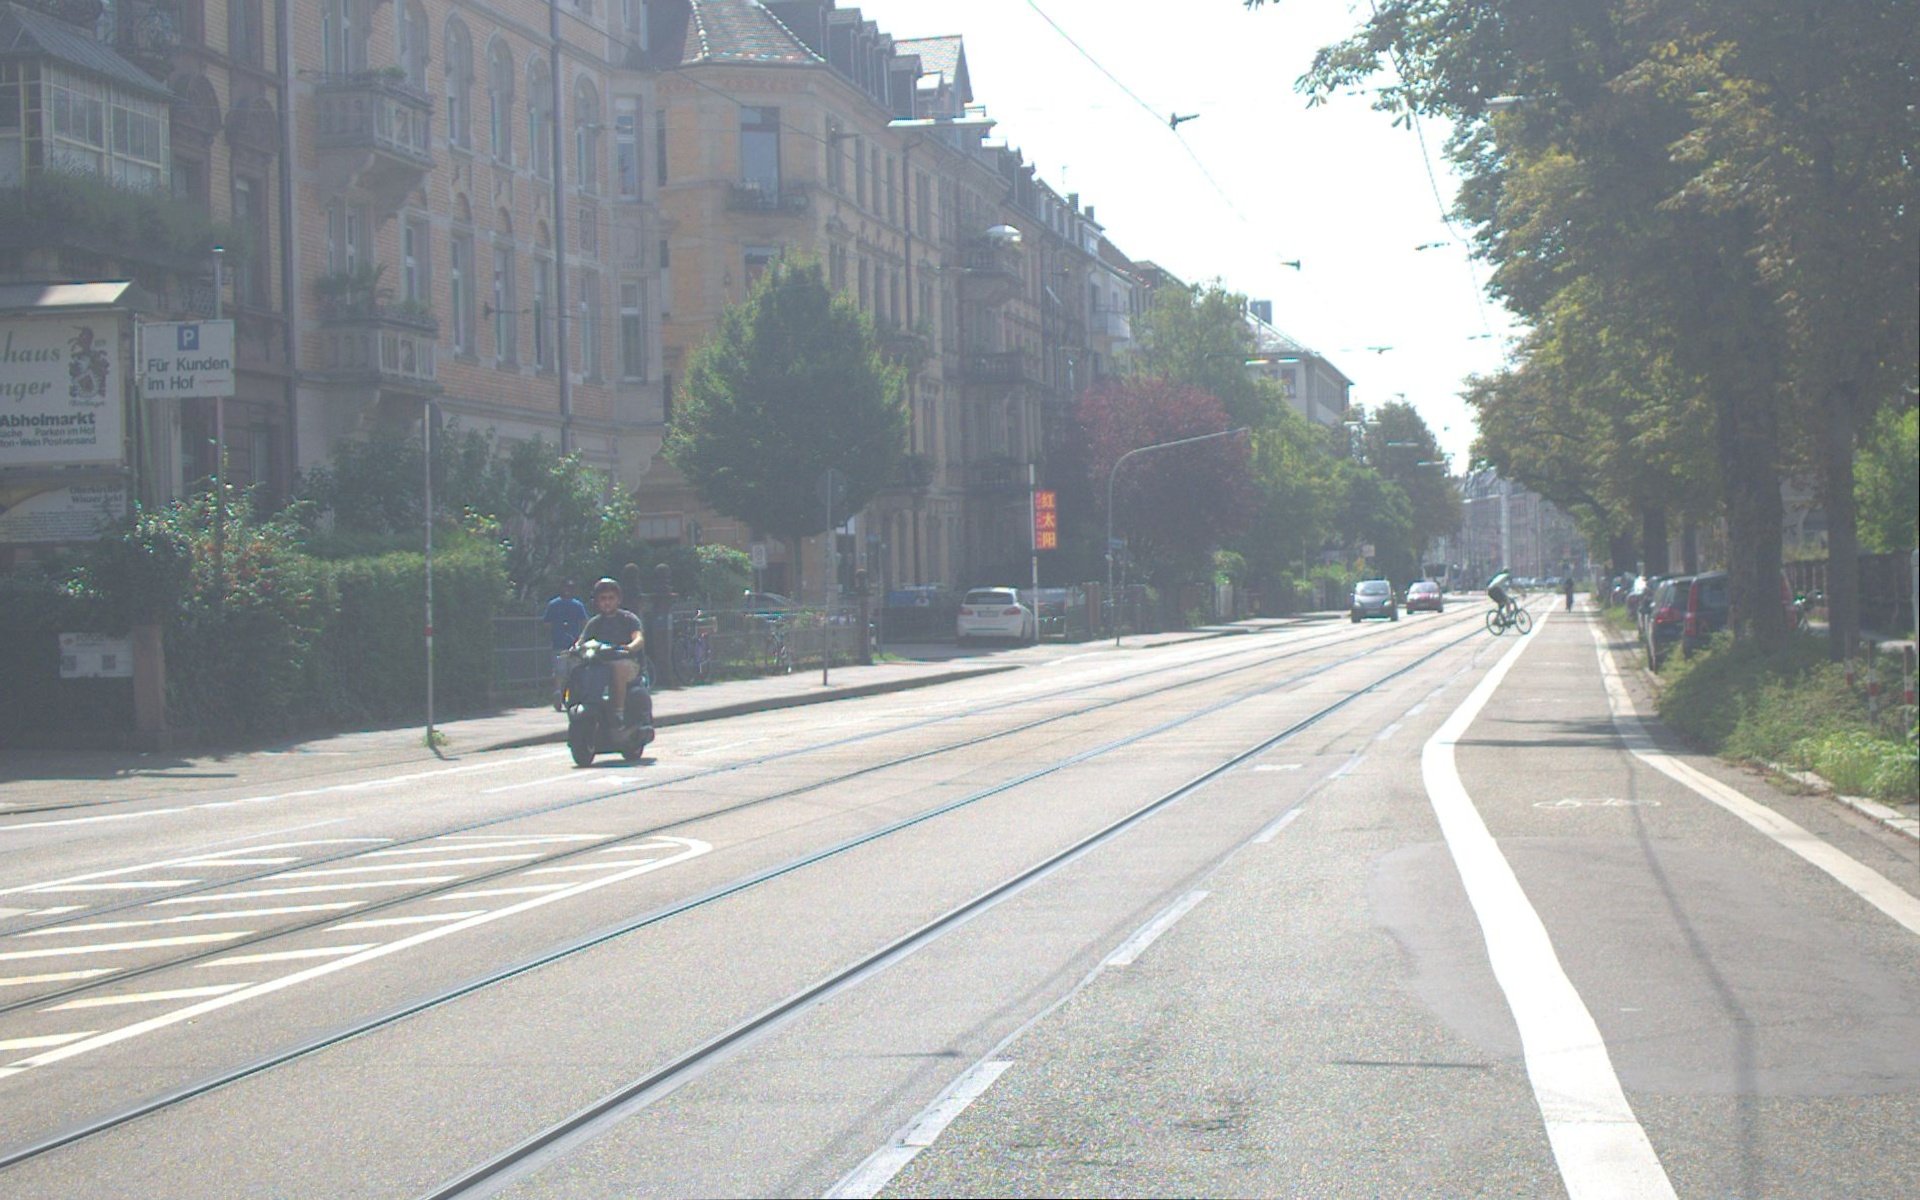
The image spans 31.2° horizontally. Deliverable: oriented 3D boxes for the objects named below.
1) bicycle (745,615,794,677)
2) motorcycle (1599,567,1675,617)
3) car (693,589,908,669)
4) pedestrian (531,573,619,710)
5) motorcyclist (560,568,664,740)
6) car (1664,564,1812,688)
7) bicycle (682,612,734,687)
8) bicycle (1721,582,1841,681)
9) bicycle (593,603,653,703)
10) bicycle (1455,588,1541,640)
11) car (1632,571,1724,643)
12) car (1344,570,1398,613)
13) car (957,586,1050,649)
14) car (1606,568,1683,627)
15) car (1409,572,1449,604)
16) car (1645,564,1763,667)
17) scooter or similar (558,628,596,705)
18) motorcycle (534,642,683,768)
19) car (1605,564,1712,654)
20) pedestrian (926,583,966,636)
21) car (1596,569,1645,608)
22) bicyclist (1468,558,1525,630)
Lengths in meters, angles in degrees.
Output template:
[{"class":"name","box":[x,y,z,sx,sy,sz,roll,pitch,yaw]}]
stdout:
[{"class":"bicycle","box":[-3.316,0.792,59.950,0.390,1.035,1.832,-1,0,11]},{"class":"motorcycle","box":[22.740,-0.278,115.523,0.966,1.535,2.345,-1,-3,-38]},{"class":"car","box":[-3.302,0.598,71.529,4.104,1.589,1.878,-1,0,12]},{"class":"pedestrian","box":[-5.029,0.532,44.922,0.883,1.750,0.870,-2,0,11]},{"class":"motorcyclist","box":[-3.120,0.478,30.891,0.690,1.506,0.772,-2,0,12]},{"class":"car","box":[10.461,0.323,46.072,1.618,1.525,3.496,-3,0,17]},{"class":"bicycle","box":[-3.972,0.771,54.259,0.390,1.144,1.581,-1,0,11]},{"class":"bicycle","box":[9.604,0.362,40.192,1.387,1.104,0.389,-2,0,-25]},{"class":"bicycle","box":[-4.860,0.759,49.651,0.390,1.401,1.581,-1,0,11]},{"class":"bicycle","box":[13.992,0.351,89.346,1.150,1.265,2.707,-2,0,34]},{"class":"car","box":[15.589,0.134,74.809,1.756,1.472,4.385,-2,0,10]},{"class":"car","box":[15.960,-0.342,133.266,1.828,1.535,3.998,-2,0,10]},{"class":"car","box":[1.191,0.446,92.559,1.994,1.589,4.358,-2,0,7]},{"class":"car","box":[18.350,-0.077,92.318,1.893,1.472,4.838,-2,0,10]},{"class":"car","box":[22.919,-0.580,168.067,1.732,1.485,3.998,-2,0,10]},{"class":"car","box":[11.600,0.223,53.790,1.617,1.472,4.037,-3,0,11]},{"class":"scooter or similar","box":[-4.937,0.852,44.339,0.400,0.979,0.584,0,0,3]},{"class":"motorcycle","box":[-3.129,0.924,30.833,0.692,1.027,2.156,-2,0,11]},{"class":"car","box":[13.019,0.170,64.287,1.756,1.472,4.455,-5,-1,11]},{"class":"pedestrian","box":[-0.412,0.283,99.780,0.883,1.506,0.870,-2,0,-20]},{"class":"car","box":[27.748,-0.472,144.551,1.841,1.527,4.778,-3,0,10]},{"class":"bicyclist","box":[13.943,-0.163,89.323,1.127,1.831,0.954,-2,-1,33]}]
